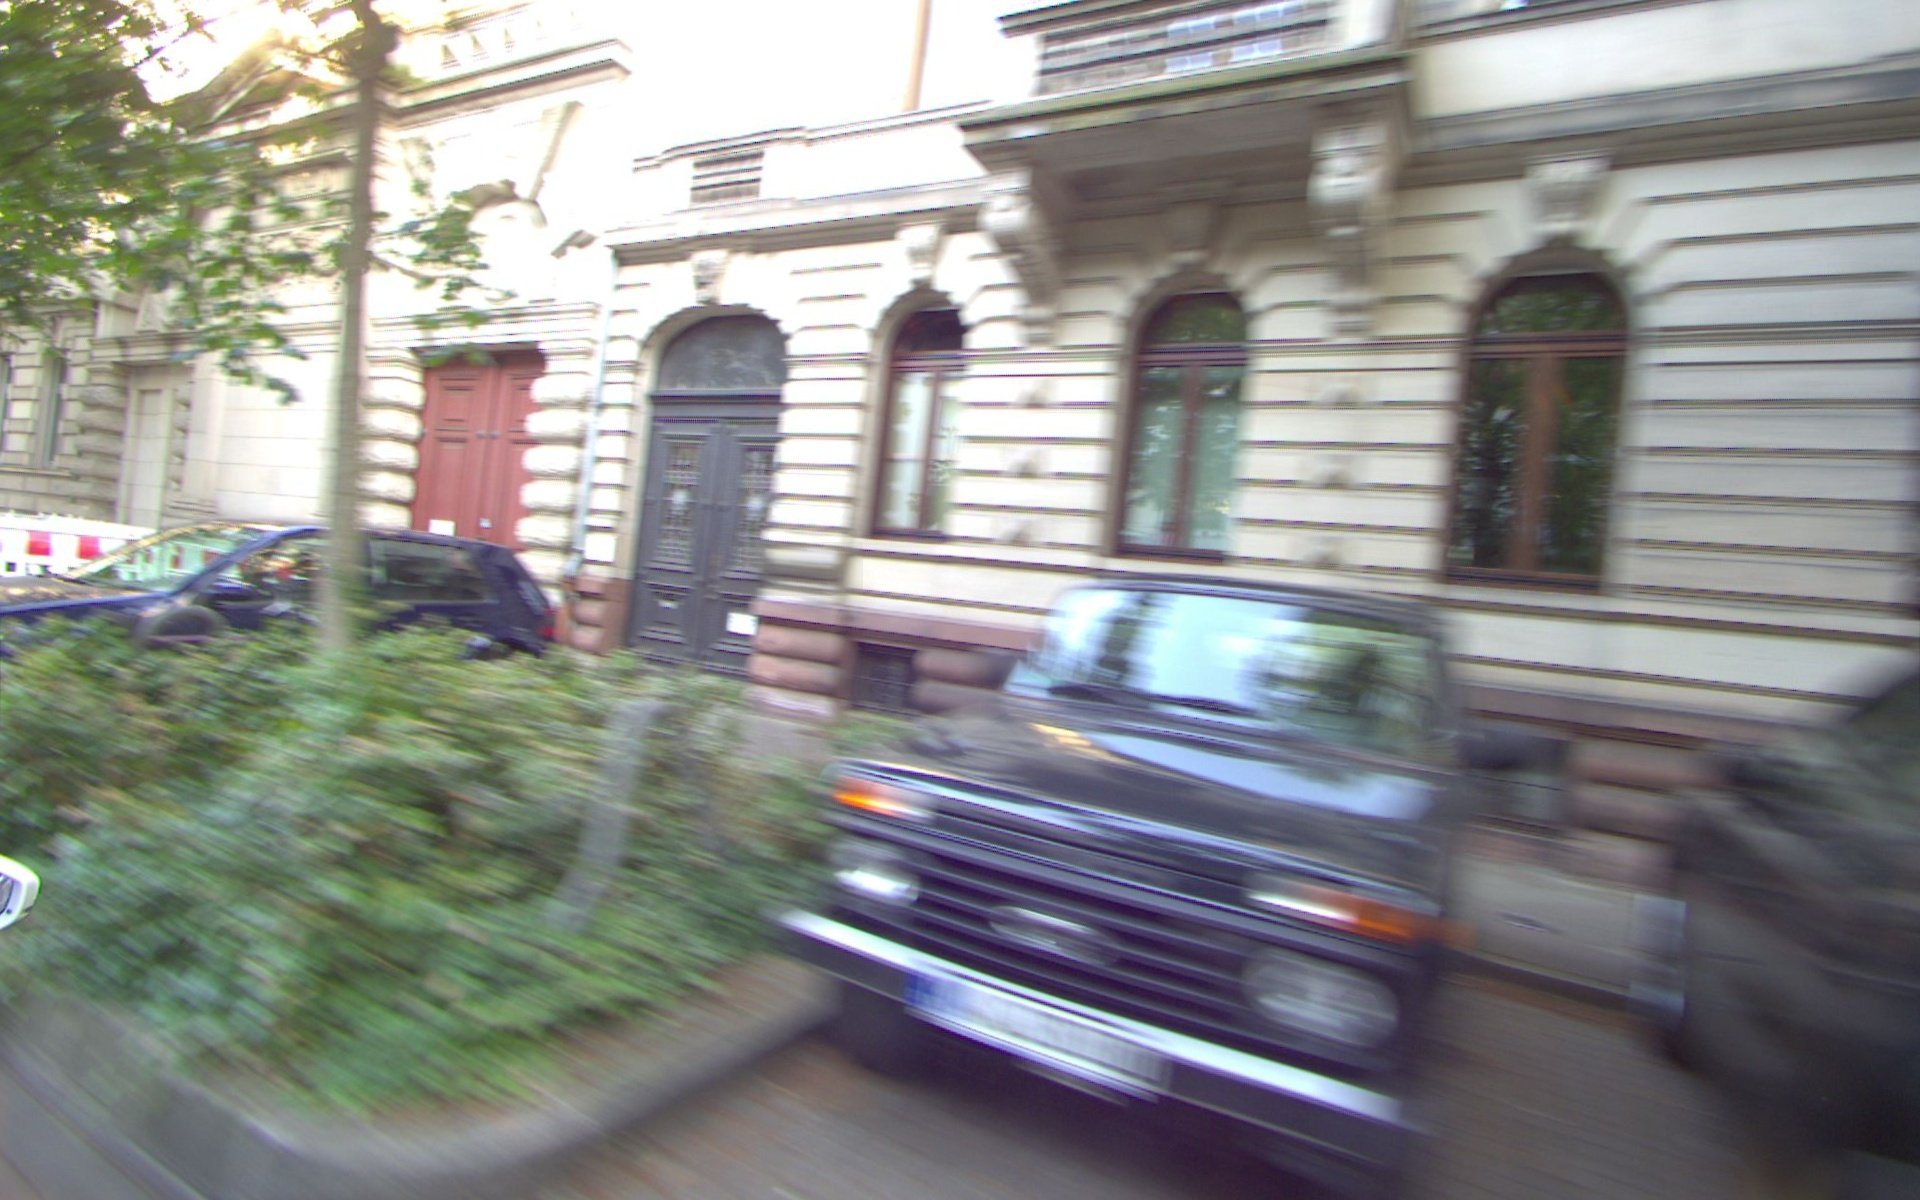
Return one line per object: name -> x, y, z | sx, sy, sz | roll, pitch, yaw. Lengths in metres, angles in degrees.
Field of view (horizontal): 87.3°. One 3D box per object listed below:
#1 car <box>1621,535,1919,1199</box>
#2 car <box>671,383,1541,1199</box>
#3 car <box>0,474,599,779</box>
car -> 2.932, 0.901, 2.248 | 1.935, 1.739, 4.447 | 5, 0, 29
car -> 1.075, 0.544, 3.864 | 1.735, 1.707, 4.015 | 7, -1, 29
car -> -4.761, 0.106, 6.672 | 1.823, 1.500, 4.228 | 6, 1, 29
